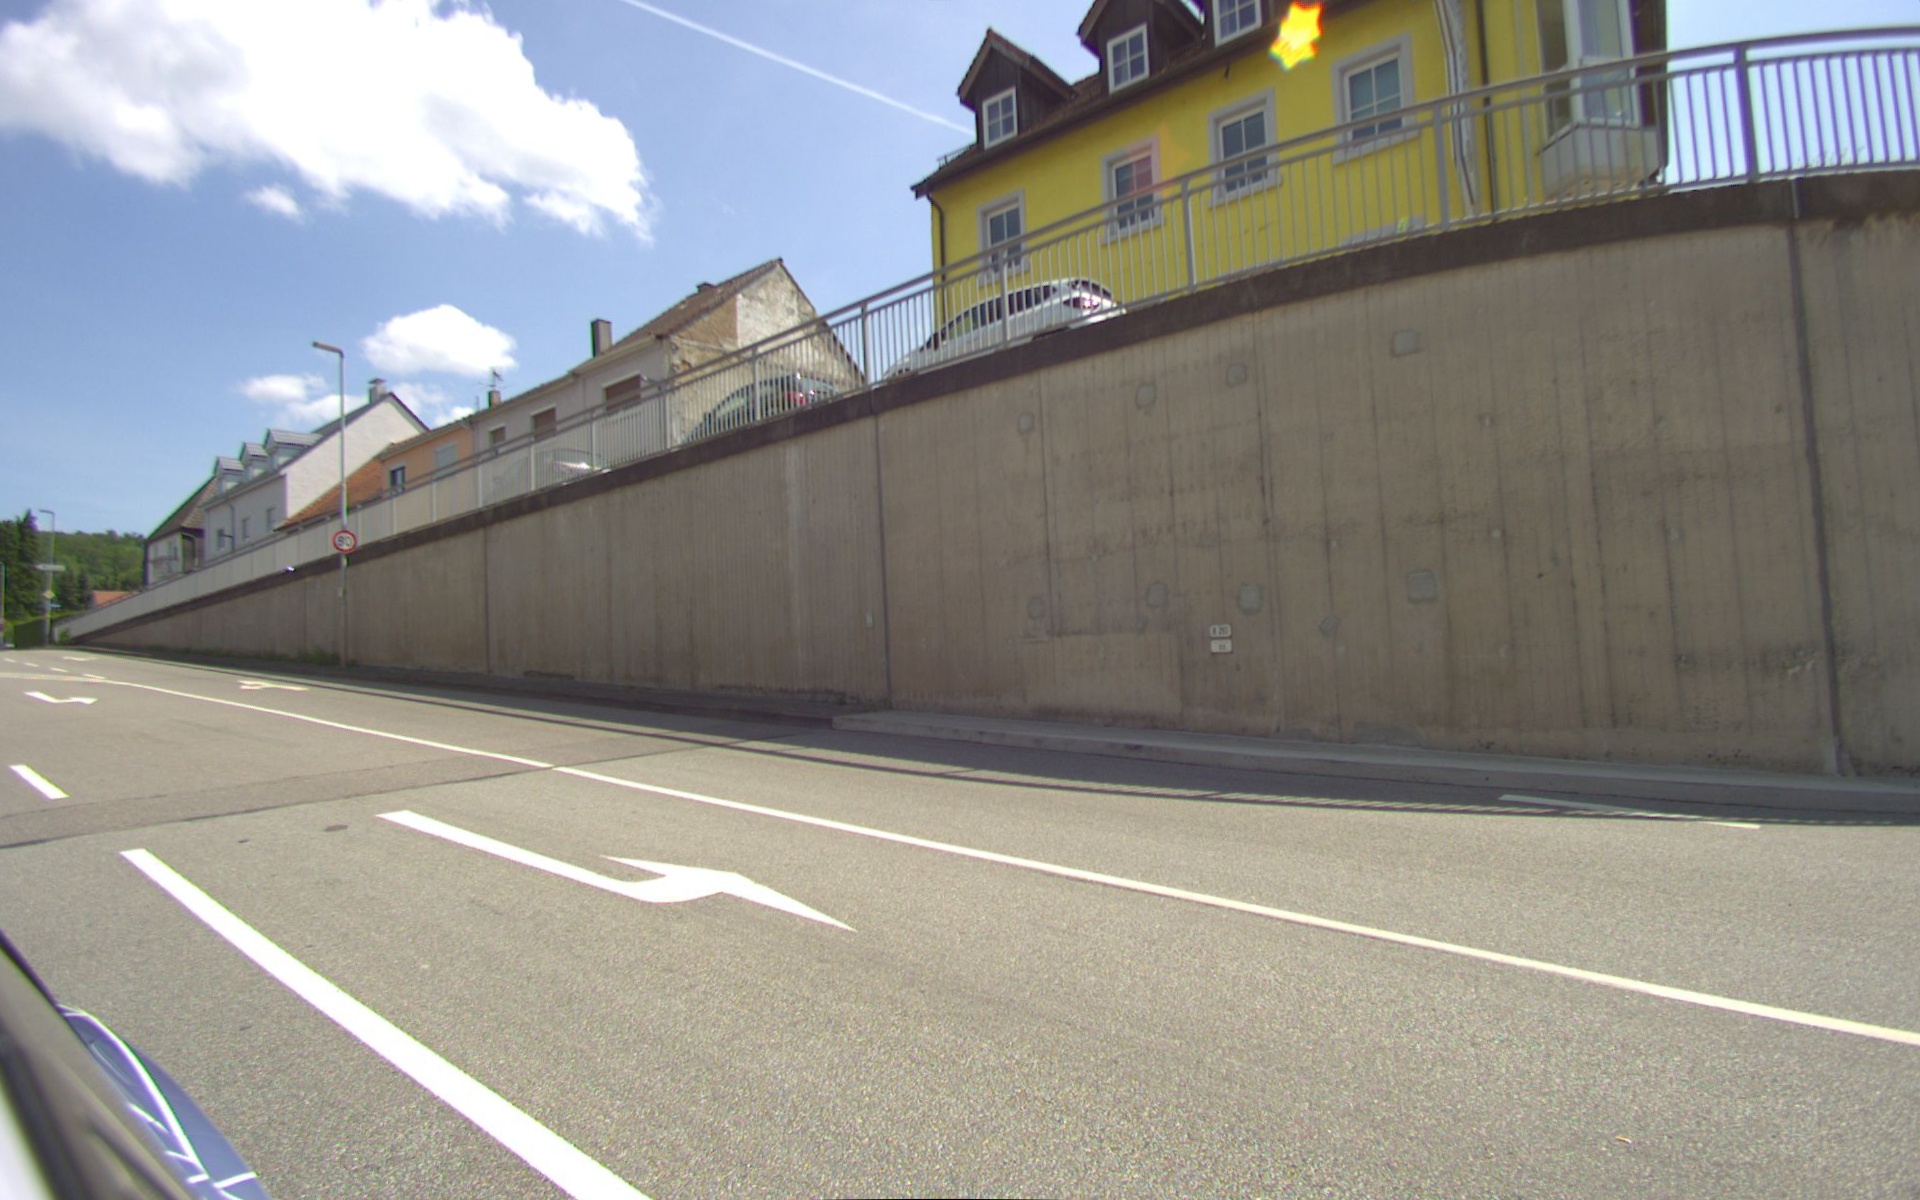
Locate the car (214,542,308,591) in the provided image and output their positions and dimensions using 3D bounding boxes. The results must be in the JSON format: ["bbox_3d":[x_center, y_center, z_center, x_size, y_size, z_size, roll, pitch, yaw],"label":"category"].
[{"bbox_3d":[-26.087,-1.189,37.737,4.388,1.416,1.768,-4,-3,39],"label":"car"}]

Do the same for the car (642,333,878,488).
[{"bbox_3d":[-3.609,-3.200,17.871,4.218,1.718,1.804,-4,-3,39],"label":"car"}]

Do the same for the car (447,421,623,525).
[{"bbox_3d":[-9.572,-2.736,22.633,4.388,1.536,1.780,-4,-3,39],"label":"car"}]

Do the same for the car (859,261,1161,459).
[{"bbox_3d":[0.637,-3.280,14.629,3.996,1.681,1.883,-4,-3,40],"label":"car"}]
